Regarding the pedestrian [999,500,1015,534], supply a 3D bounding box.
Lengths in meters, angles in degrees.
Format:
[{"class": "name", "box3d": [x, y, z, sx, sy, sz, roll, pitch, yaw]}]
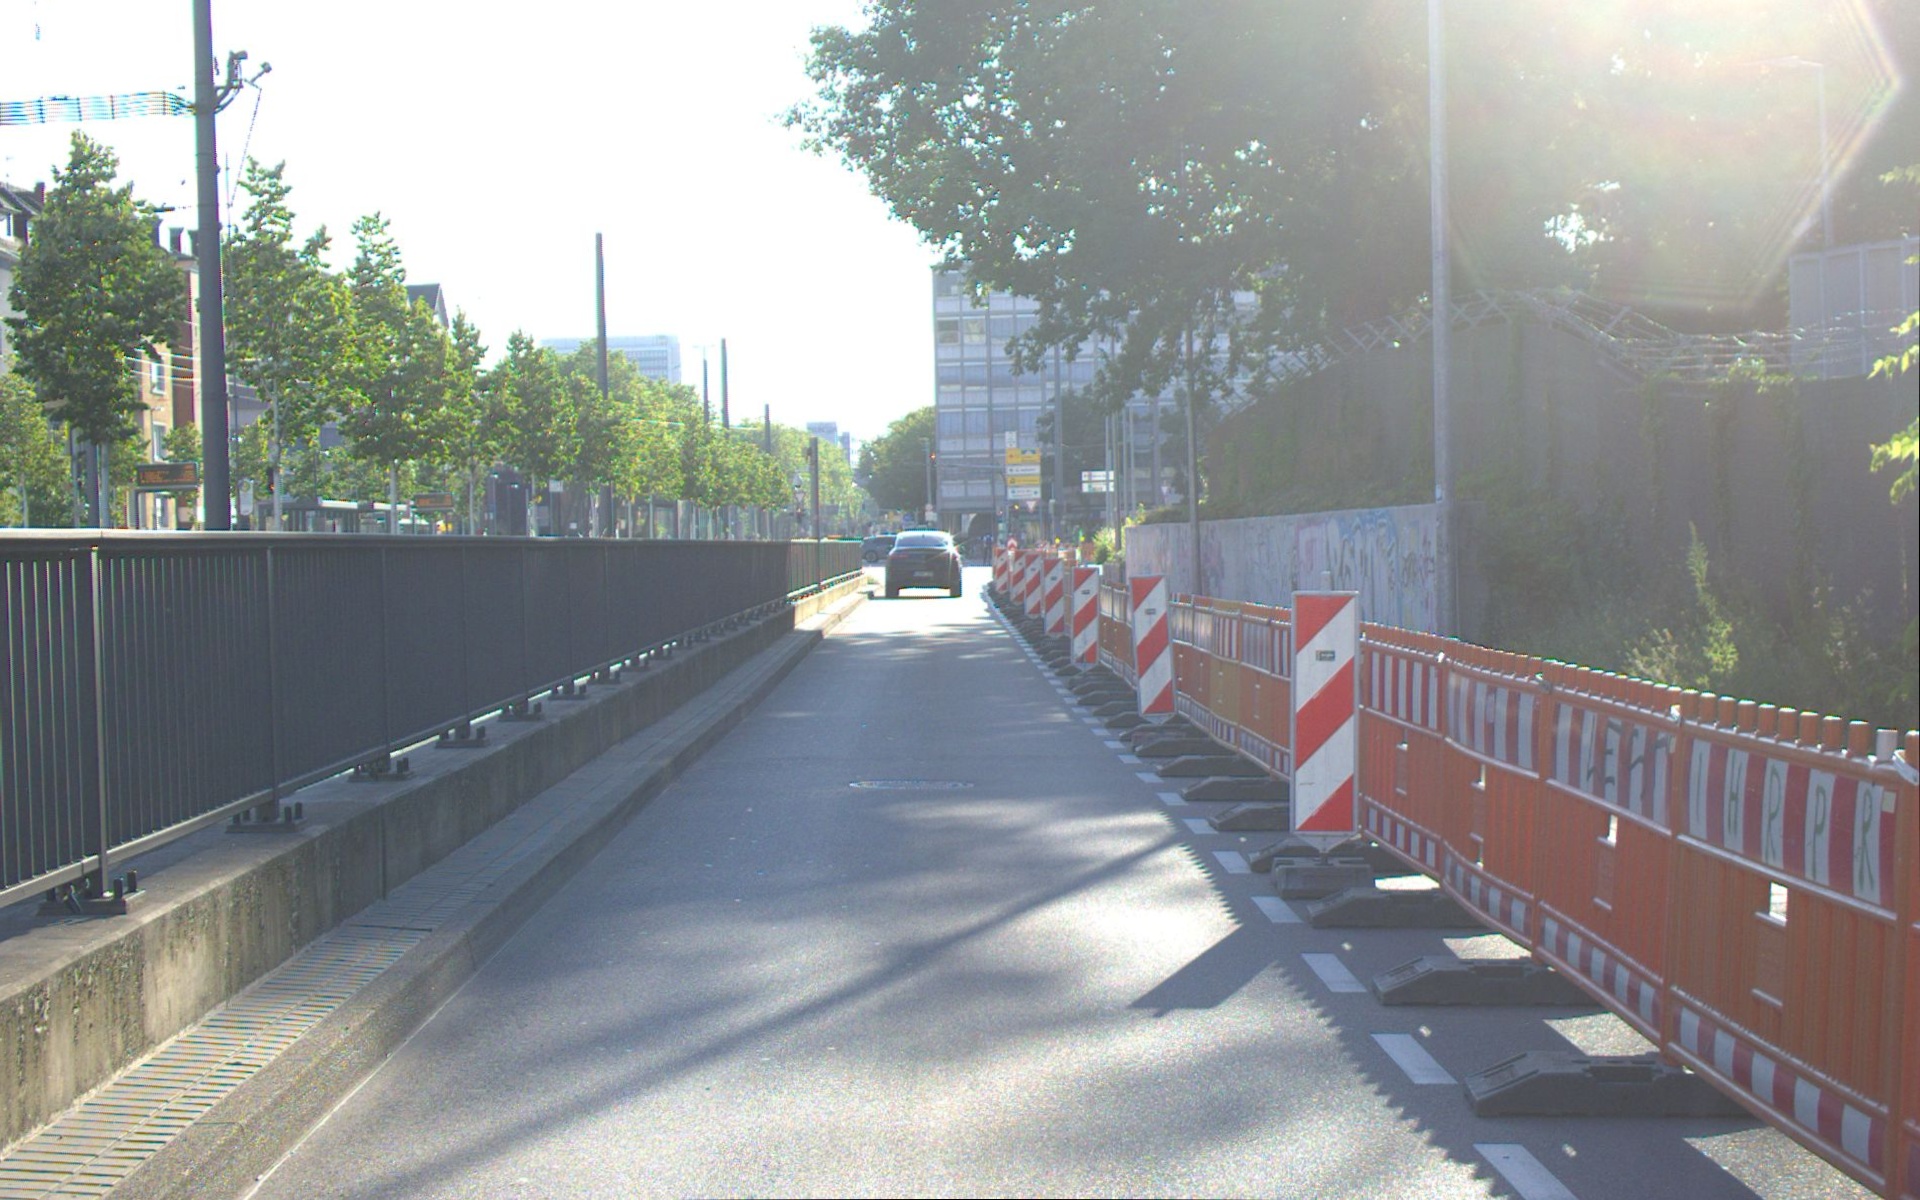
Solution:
[{"class": "pedestrian", "box3d": [2.919, -5.174, 213.333, 0.891, 2.105, 0.718, -1, 2, 5]}]

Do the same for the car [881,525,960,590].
[{"class": "car", "box3d": [-1.019, -1.117, 90.983, 2.005, 1.653, 4.000, 1, 1, 0]}]
